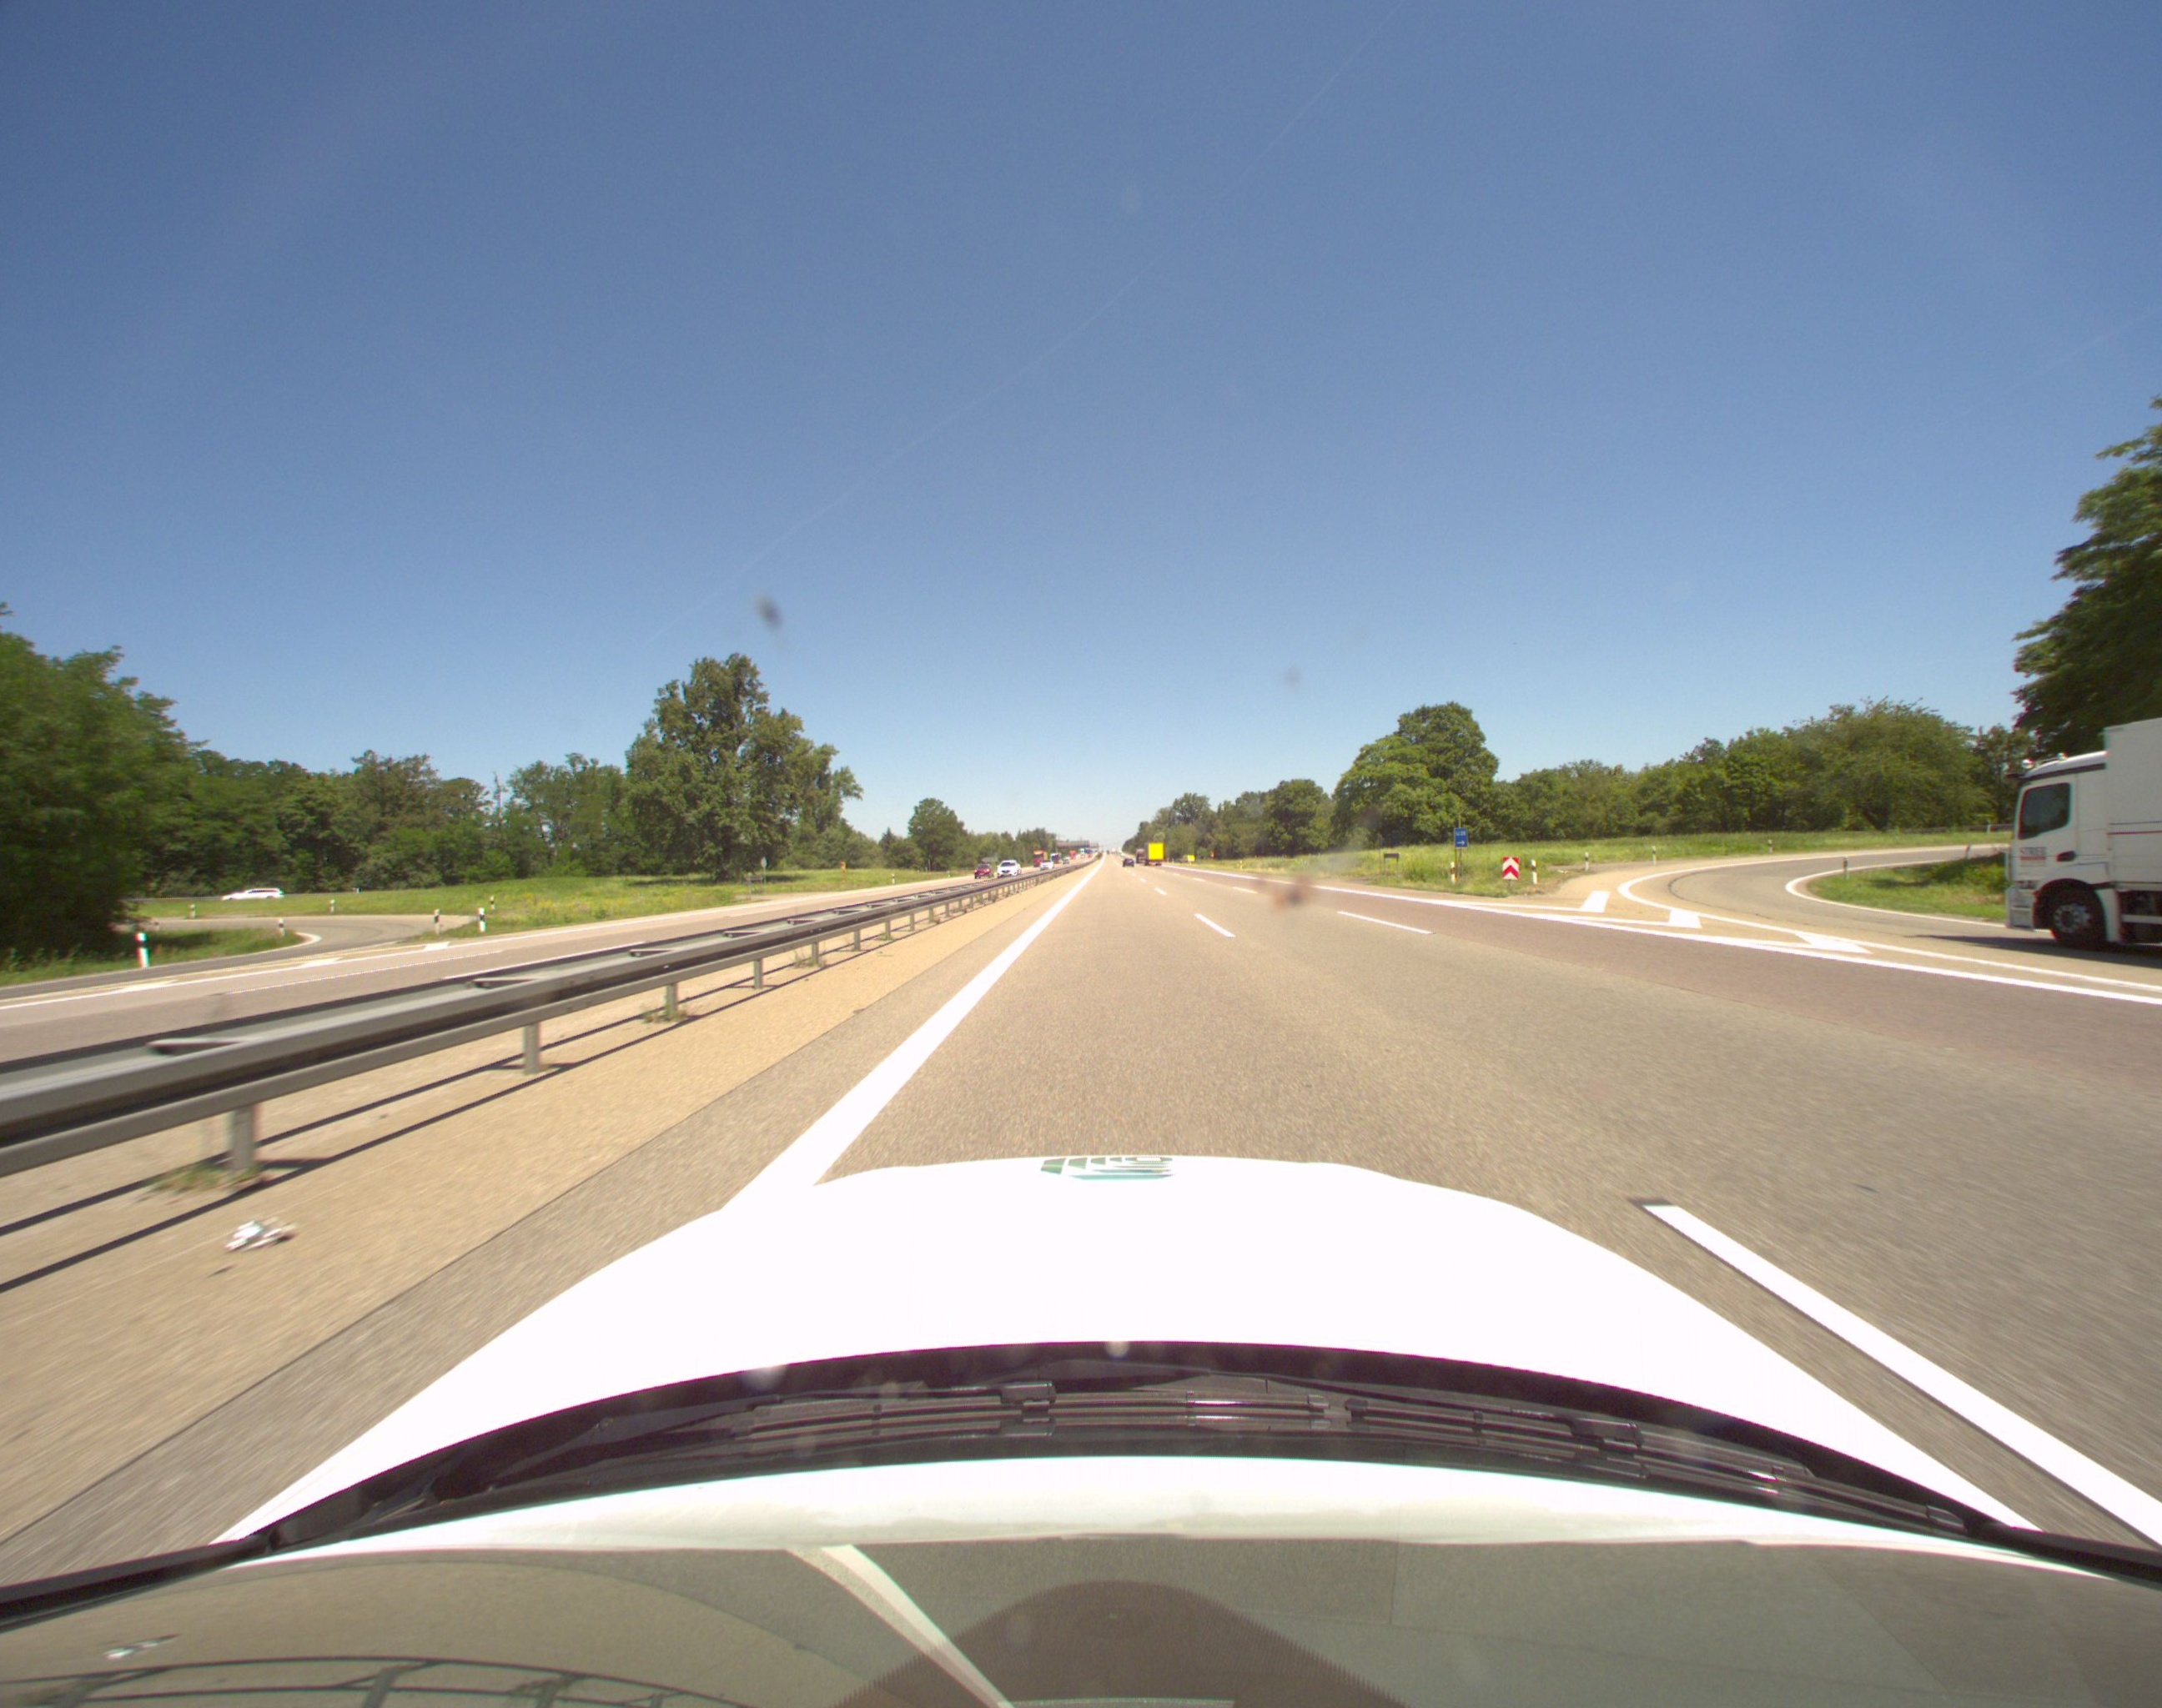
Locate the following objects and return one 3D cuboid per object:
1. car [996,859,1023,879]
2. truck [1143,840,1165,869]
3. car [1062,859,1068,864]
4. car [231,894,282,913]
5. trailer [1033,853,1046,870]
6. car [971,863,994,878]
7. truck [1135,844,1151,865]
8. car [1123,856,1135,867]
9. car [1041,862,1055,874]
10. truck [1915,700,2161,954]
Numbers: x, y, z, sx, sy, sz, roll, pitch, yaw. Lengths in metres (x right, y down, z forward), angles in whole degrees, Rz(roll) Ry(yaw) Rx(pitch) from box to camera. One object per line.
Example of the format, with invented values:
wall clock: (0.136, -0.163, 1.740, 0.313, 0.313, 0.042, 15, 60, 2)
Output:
car: (-6.526, 1.376, 74.666, 1.756, 1.692, 4.821, -2, 0, 2)
truck: (13.358, 0.127, 150.007, 3.363, 4.881, 15.096, -1, 0, 3)
car: (-4.769, 2.324, 243.069, 1.715, 1.380, 4.786, -6, -1, 0)
car: (-93.268, 5.582, 92.200, 4.022, 1.816, 1.765, -1, 0, -43)
trailer: (-10.318, 1.852, 201.939, 2.593, 3.991, 6.032, -1, 0, 2)
car: (-10.696, 1.778, 88.308, 1.756, 1.495, 4.077, -4, 0, 2)
truck: (14.961, 0.135, 198.020, 3.353, 4.881, 15.096, -1, 0, 3)
car: (7.722, 1.238, 131.745, 1.820, 1.706, 4.001, -1, 0, 2)
car: (-5.085, 2.141, 126.979, 1.804, 1.692, 5.127, -2, 0, 2)
truck: (15.295, -0.373, 9.102, 3.007, 3.319, 10.809, -1, 0, 13)
